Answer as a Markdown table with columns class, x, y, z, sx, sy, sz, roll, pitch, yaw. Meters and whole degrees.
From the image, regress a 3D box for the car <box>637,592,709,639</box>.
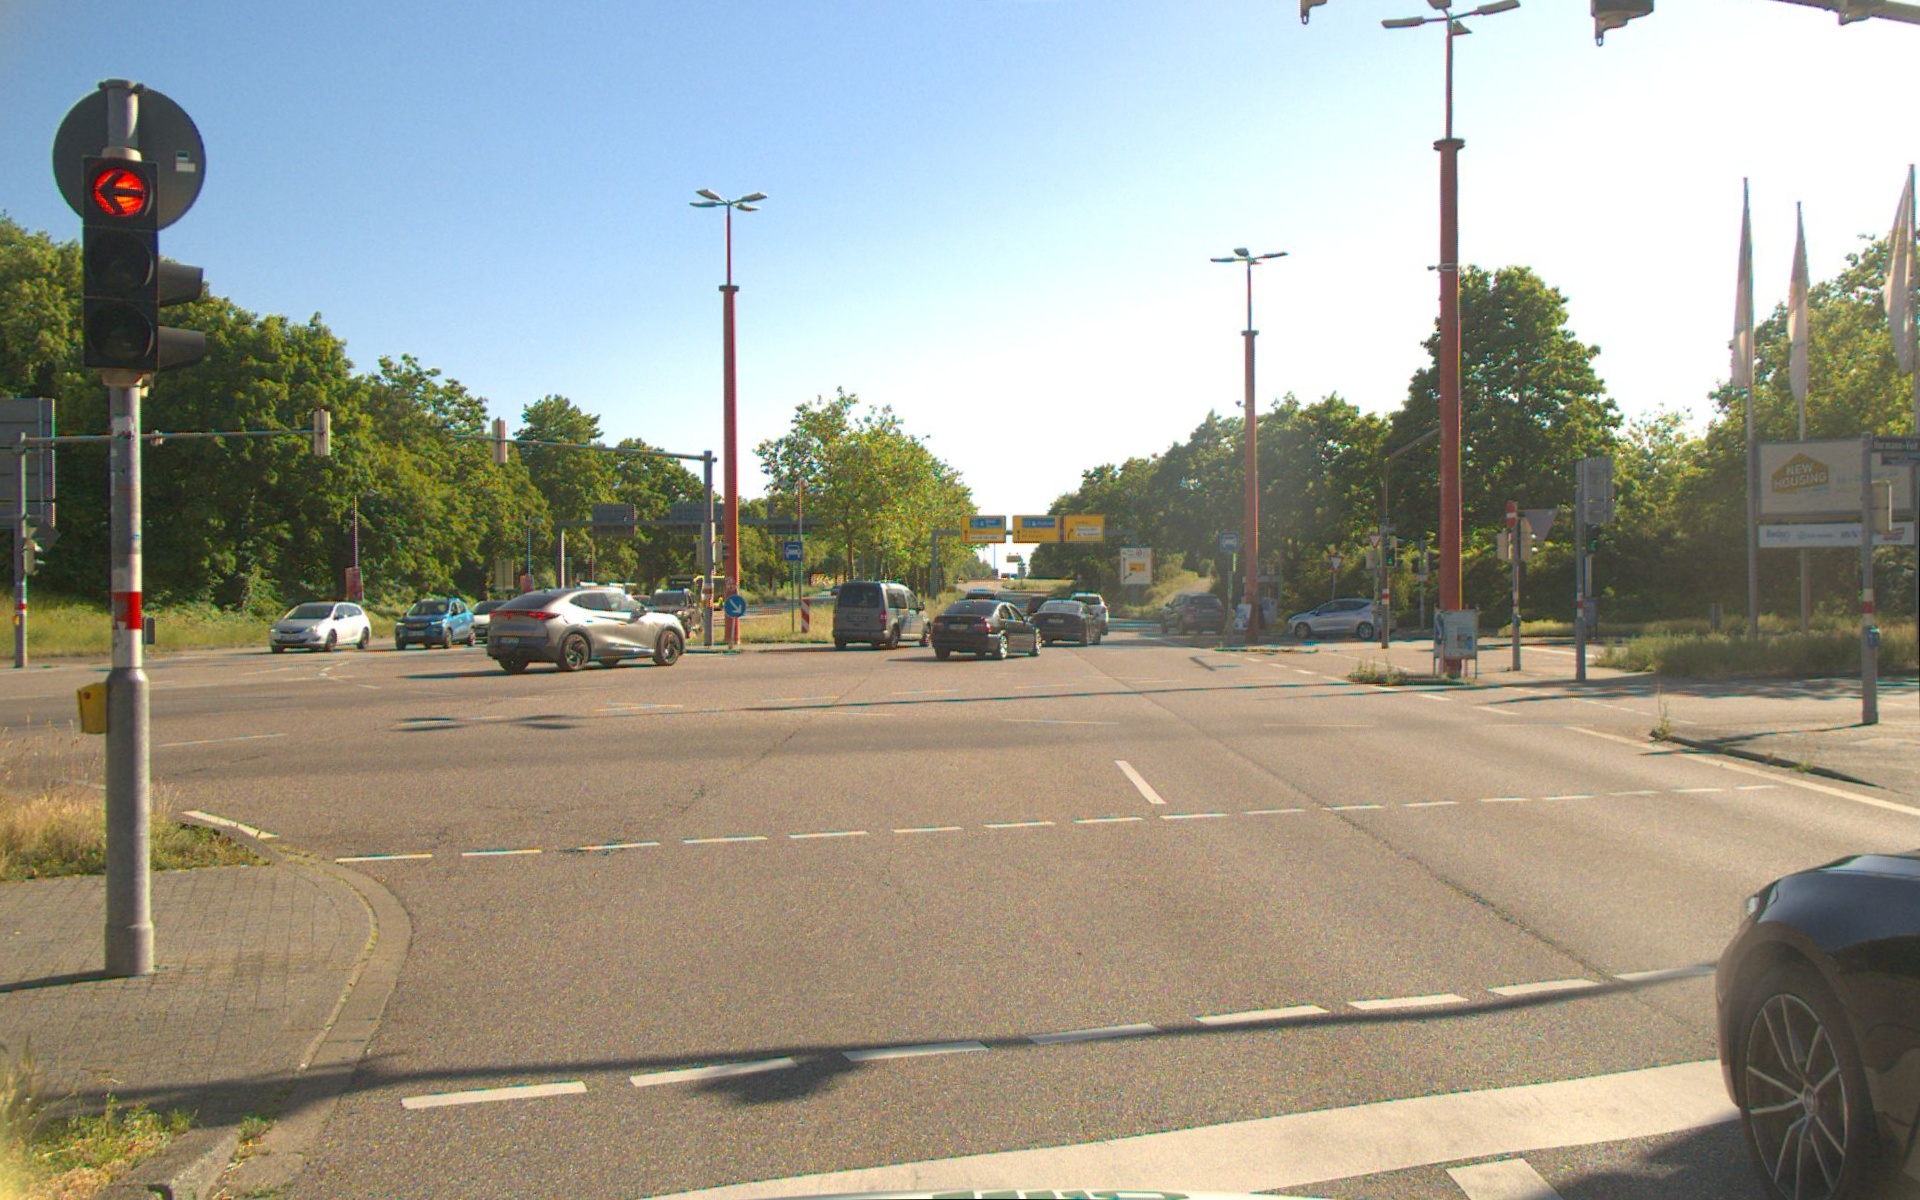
| class | x | y | z | sx | sy | sz | roll | pitch | yaw |
| --- | --- | --- | --- | --- | --- | --- | --- | --- | --- |
| car | -9.695 | 0.507 | 56.058 | 1.782 | 1.534 | 3.999 | 0 | 0 | -1 |

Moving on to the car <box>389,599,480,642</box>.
| class | x | y | z | sx | sy | sz | roll | pitch | yaw |
| --- | --- | --- | --- | --- | --- | --- | --- | --- | --- |
| car | -16.050 | 0.604 | 50.679 | 1.704 | 1.265 | 3.611 | 0 | 0 | -2 |

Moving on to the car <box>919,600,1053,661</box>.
| class | x | y | z | sx | sy | sz | roll | pitch | yaw |
| --- | --- | --- | --- | --- | --- | --- | --- | --- | --- |
| car | 0.691 | 0.708 | 40.389 | 1.724 | 1.373 | 4.361 | 0 | 0 | 24 |

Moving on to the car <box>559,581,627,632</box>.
| class | x | y | z | sx | sy | sz | roll | pitch | yaw |
| --- | --- | --- | --- | --- | --- | --- | --- | --- | --- |
| car | -15.647 | 0.299 | 70.820 | 1.855 | 2.061 | 5.221 | 1 | -1 | -2 |

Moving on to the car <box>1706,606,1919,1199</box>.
| class | x | y | z | sx | sy | sz | roll | pitch | yaw |
| --- | --- | --- | --- | --- | --- | --- | --- | --- | --- |
| car | 2.943 | 0.732 | 2.364 | 1.831 | 1.422 | 4.444 | 0 | 0 | 1 |

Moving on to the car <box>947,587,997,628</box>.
| class | x | y | z | sx | sy | sz | roll | pitch | yaw |
| --- | --- | --- | --- | --- | --- | --- | --- | --- | --- |
| car | 0.530 | 0.268 | 66.083 | 1.813 | 1.572 | 4.264 | 0 | 0 | 3 |

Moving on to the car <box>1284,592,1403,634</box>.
| class | x | y | z | sx | sy | sz | roll | pitch | yaw |
| --- | --- | --- | --- | --- | --- | --- | --- | --- | --- |
| car | 13.948 | 0.462 | 60.258 | 3.913 | 1.493 | 1.678 | 0 | 0 | 35 |

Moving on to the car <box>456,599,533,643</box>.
| class | x | y | z | sx | sy | sz | roll | pitch | yaw |
| --- | --- | --- | --- | --- | --- | --- | --- | --- | --- |
| car | -15.924 | 0.693 | 56.684 | 1.704 | 1.436 | 3.611 | 0 | 0 | -2 |

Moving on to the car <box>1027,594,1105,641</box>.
| class | x | y | z | sx | sy | sz | roll | pitch | yaw |
| --- | --- | --- | --- | --- | --- | --- | --- | --- | --- |
| car | 3.351 | 0.523 | 51.685 | 1.722 | 1.373 | 4.366 | 0 | 0 | 13 |

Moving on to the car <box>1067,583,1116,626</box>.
| class | x | y | z | sx | sy | sz | roll | pitch | yaw |
| --- | --- | --- | --- | --- | --- | --- | --- | --- | --- |
| car | 5.351 | 0.186 | 67.138 | 1.784 | 1.665 | 4.256 | 0 | 0 | 7 |

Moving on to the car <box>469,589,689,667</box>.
| class | x | y | z | sx | sy | sz | roll | pitch | yaw |
| --- | --- | --- | --- | --- | --- | --- | --- | --- | --- |
| car | -7.552 | 0.521 | 33.226 | 1.796 | 1.447 | 4.429 | 0 | 0 | 29 |

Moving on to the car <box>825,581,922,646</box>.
| class | x | y | z | sx | sy | sz | roll | pitch | yaw |
| --- | --- | --- | --- | --- | --- | --- | --- | --- | --- |
| car | -2.383 | 0.352 | 46.562 | 1.806 | 1.738 | 4.311 | 0 | 0 | 10 |

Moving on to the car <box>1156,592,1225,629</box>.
| class | x | y | z | sx | sy | sz | roll | pitch | yaw |
| --- | --- | --- | --- | --- | --- | --- | --- | --- | --- |
| car | 9.584 | 0.424 | 69.069 | 1.746 | 1.511 | 4.322 | 0 | 0 | -8 |

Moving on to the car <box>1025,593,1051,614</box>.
| class | x | y | z | sx | sy | sz | roll | pitch | yaw |
| --- | --- | --- | --- | --- | --- | --- | --- | --- | --- |
| car | 5.777 | 0.254 | 122.934 | 1.646 | 1.460 | 4.064 | 0 | 0 | -1 |

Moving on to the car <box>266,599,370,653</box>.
| class | x | y | z | sx | sy | sz | roll | pitch | yaw |
| --- | --- | --- | --- | --- | --- | --- | --- | --- | --- |
| car | -19.473 | 0.767 | 50.318 | 1.725 | 1.559 | 3.934 | 0 | 0 | -2 |

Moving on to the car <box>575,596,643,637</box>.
| class | x | y | z | sx | sy | sz | roll | pitch | yaw |
| --- | --- | --- | --- | --- | --- | --- | --- | --- | --- |
| car | -12.276 | 0.545 | 58.078 | 1.704 | 1.386 | 3.611 | 0 | 0 | -2 |
